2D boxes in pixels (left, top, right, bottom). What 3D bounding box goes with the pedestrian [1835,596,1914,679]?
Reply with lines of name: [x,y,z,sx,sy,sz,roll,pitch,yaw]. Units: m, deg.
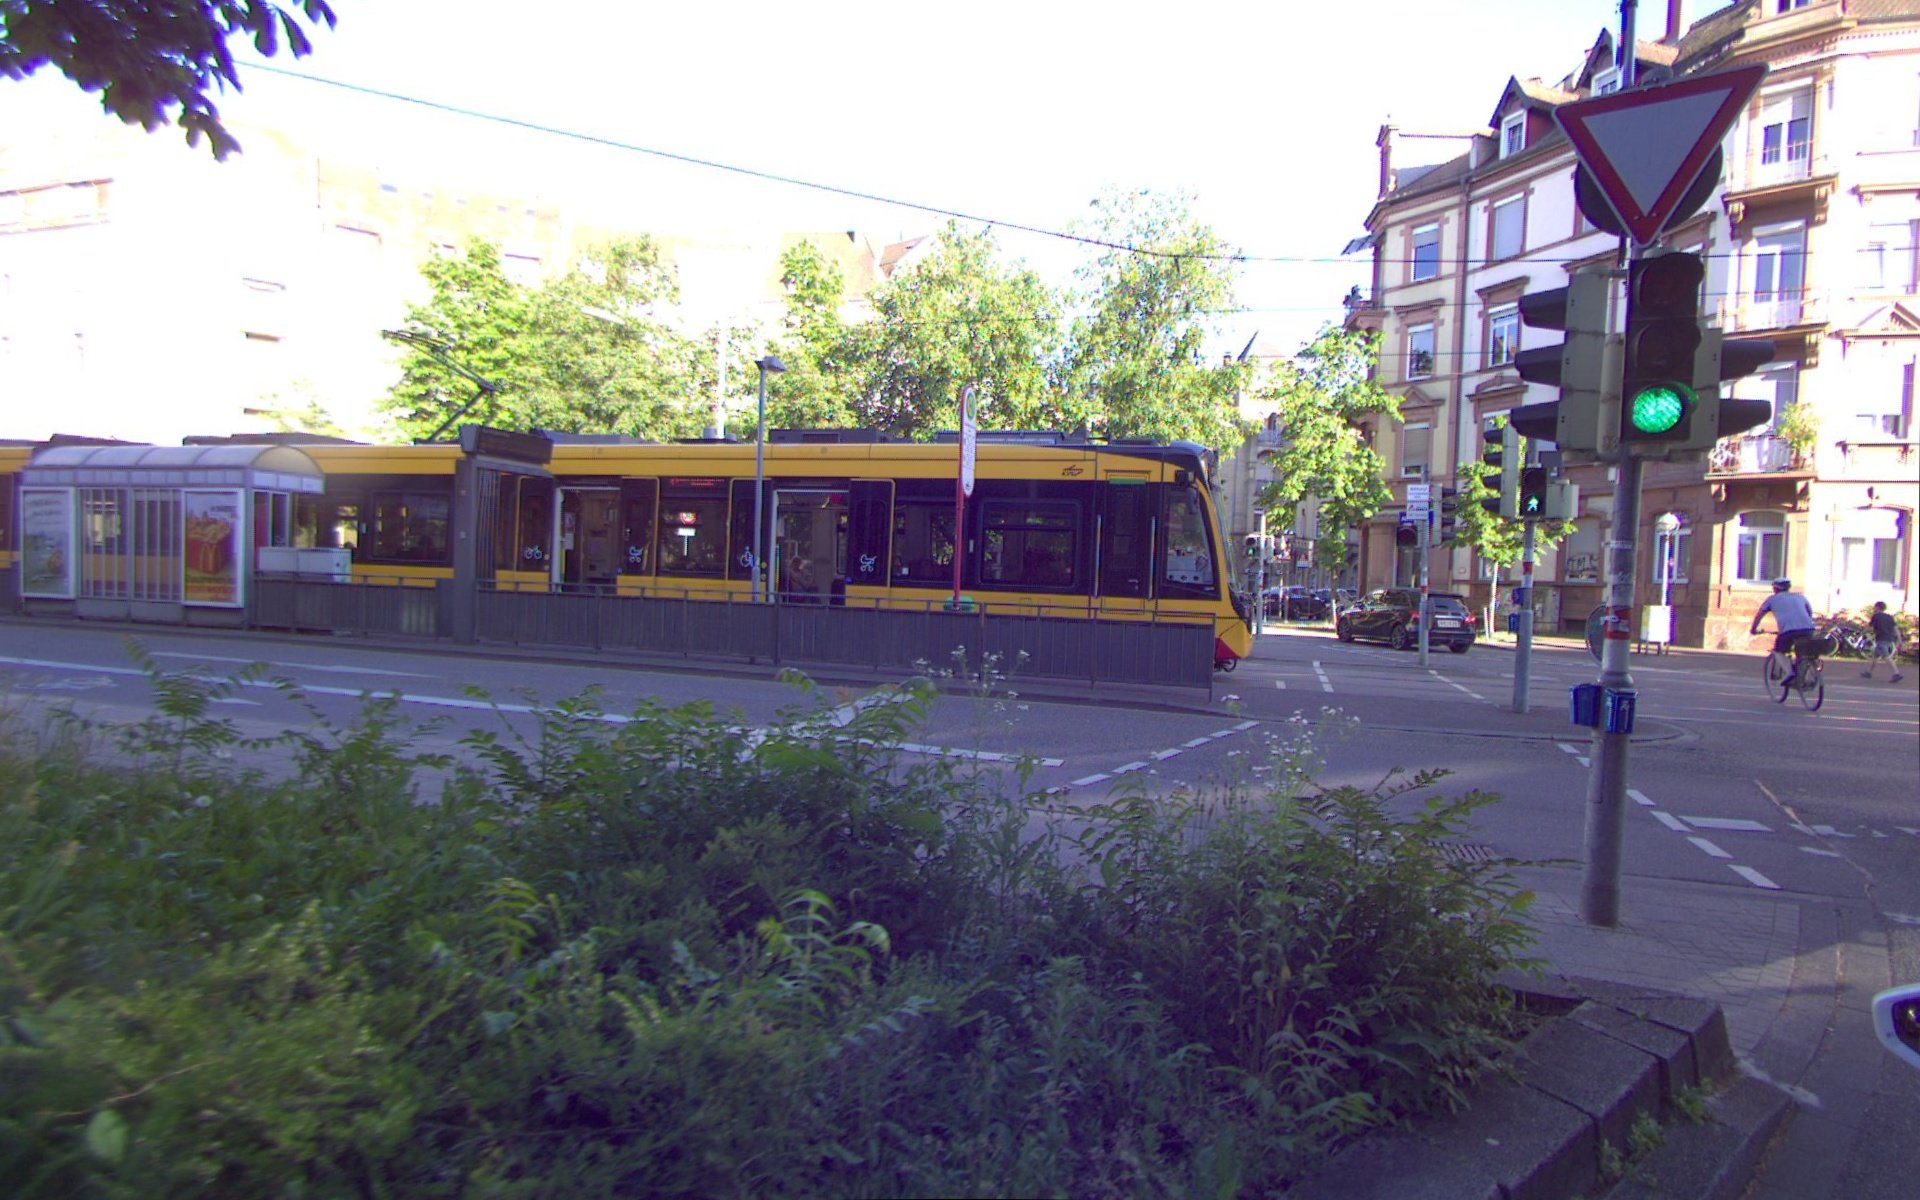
pedestrian: [19.367,0.781,21.290,0.713,1.657,0.902,1,4,-14]

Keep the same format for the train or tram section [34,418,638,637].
train or tram section: [-12.480,-1.509,19.836,12.172,3.636,2.787,3,2,17]

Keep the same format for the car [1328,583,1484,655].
car: [11.280,0.420,25.713,1.763,1.563,3.851,0,3,-10]

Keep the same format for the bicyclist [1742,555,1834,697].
bicyclist: [11.900,0.346,14.470,0.782,1.939,0.943,3,2,30]

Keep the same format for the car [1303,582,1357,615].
car: [17.935,-0.069,48.684,1.482,1.477,3.193,4,2,38]

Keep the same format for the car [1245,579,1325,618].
car: [14.583,-0.069,44.949,1.771,1.632,4.346,4,2,41]

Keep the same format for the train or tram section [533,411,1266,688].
train or tram section: [-1.139,-0.948,16.356,11.565,3.668,2.801,3,2,17]

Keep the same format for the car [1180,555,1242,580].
car: [18.160,-2.344,72.738,3.940,1.669,1.869,4,3,41]

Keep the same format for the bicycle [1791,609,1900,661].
bicycle: [22.315,0.871,25.355,0.439,1.122,1.944,1,4,-38]

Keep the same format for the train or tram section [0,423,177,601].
train or tram section: [-24.239,-2.082,23.453,12.428,3.605,2.774,3,2,17]

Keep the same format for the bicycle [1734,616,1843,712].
bicycle: [11.877,0.873,14.480,0.798,1.200,2.222,3,2,30]
